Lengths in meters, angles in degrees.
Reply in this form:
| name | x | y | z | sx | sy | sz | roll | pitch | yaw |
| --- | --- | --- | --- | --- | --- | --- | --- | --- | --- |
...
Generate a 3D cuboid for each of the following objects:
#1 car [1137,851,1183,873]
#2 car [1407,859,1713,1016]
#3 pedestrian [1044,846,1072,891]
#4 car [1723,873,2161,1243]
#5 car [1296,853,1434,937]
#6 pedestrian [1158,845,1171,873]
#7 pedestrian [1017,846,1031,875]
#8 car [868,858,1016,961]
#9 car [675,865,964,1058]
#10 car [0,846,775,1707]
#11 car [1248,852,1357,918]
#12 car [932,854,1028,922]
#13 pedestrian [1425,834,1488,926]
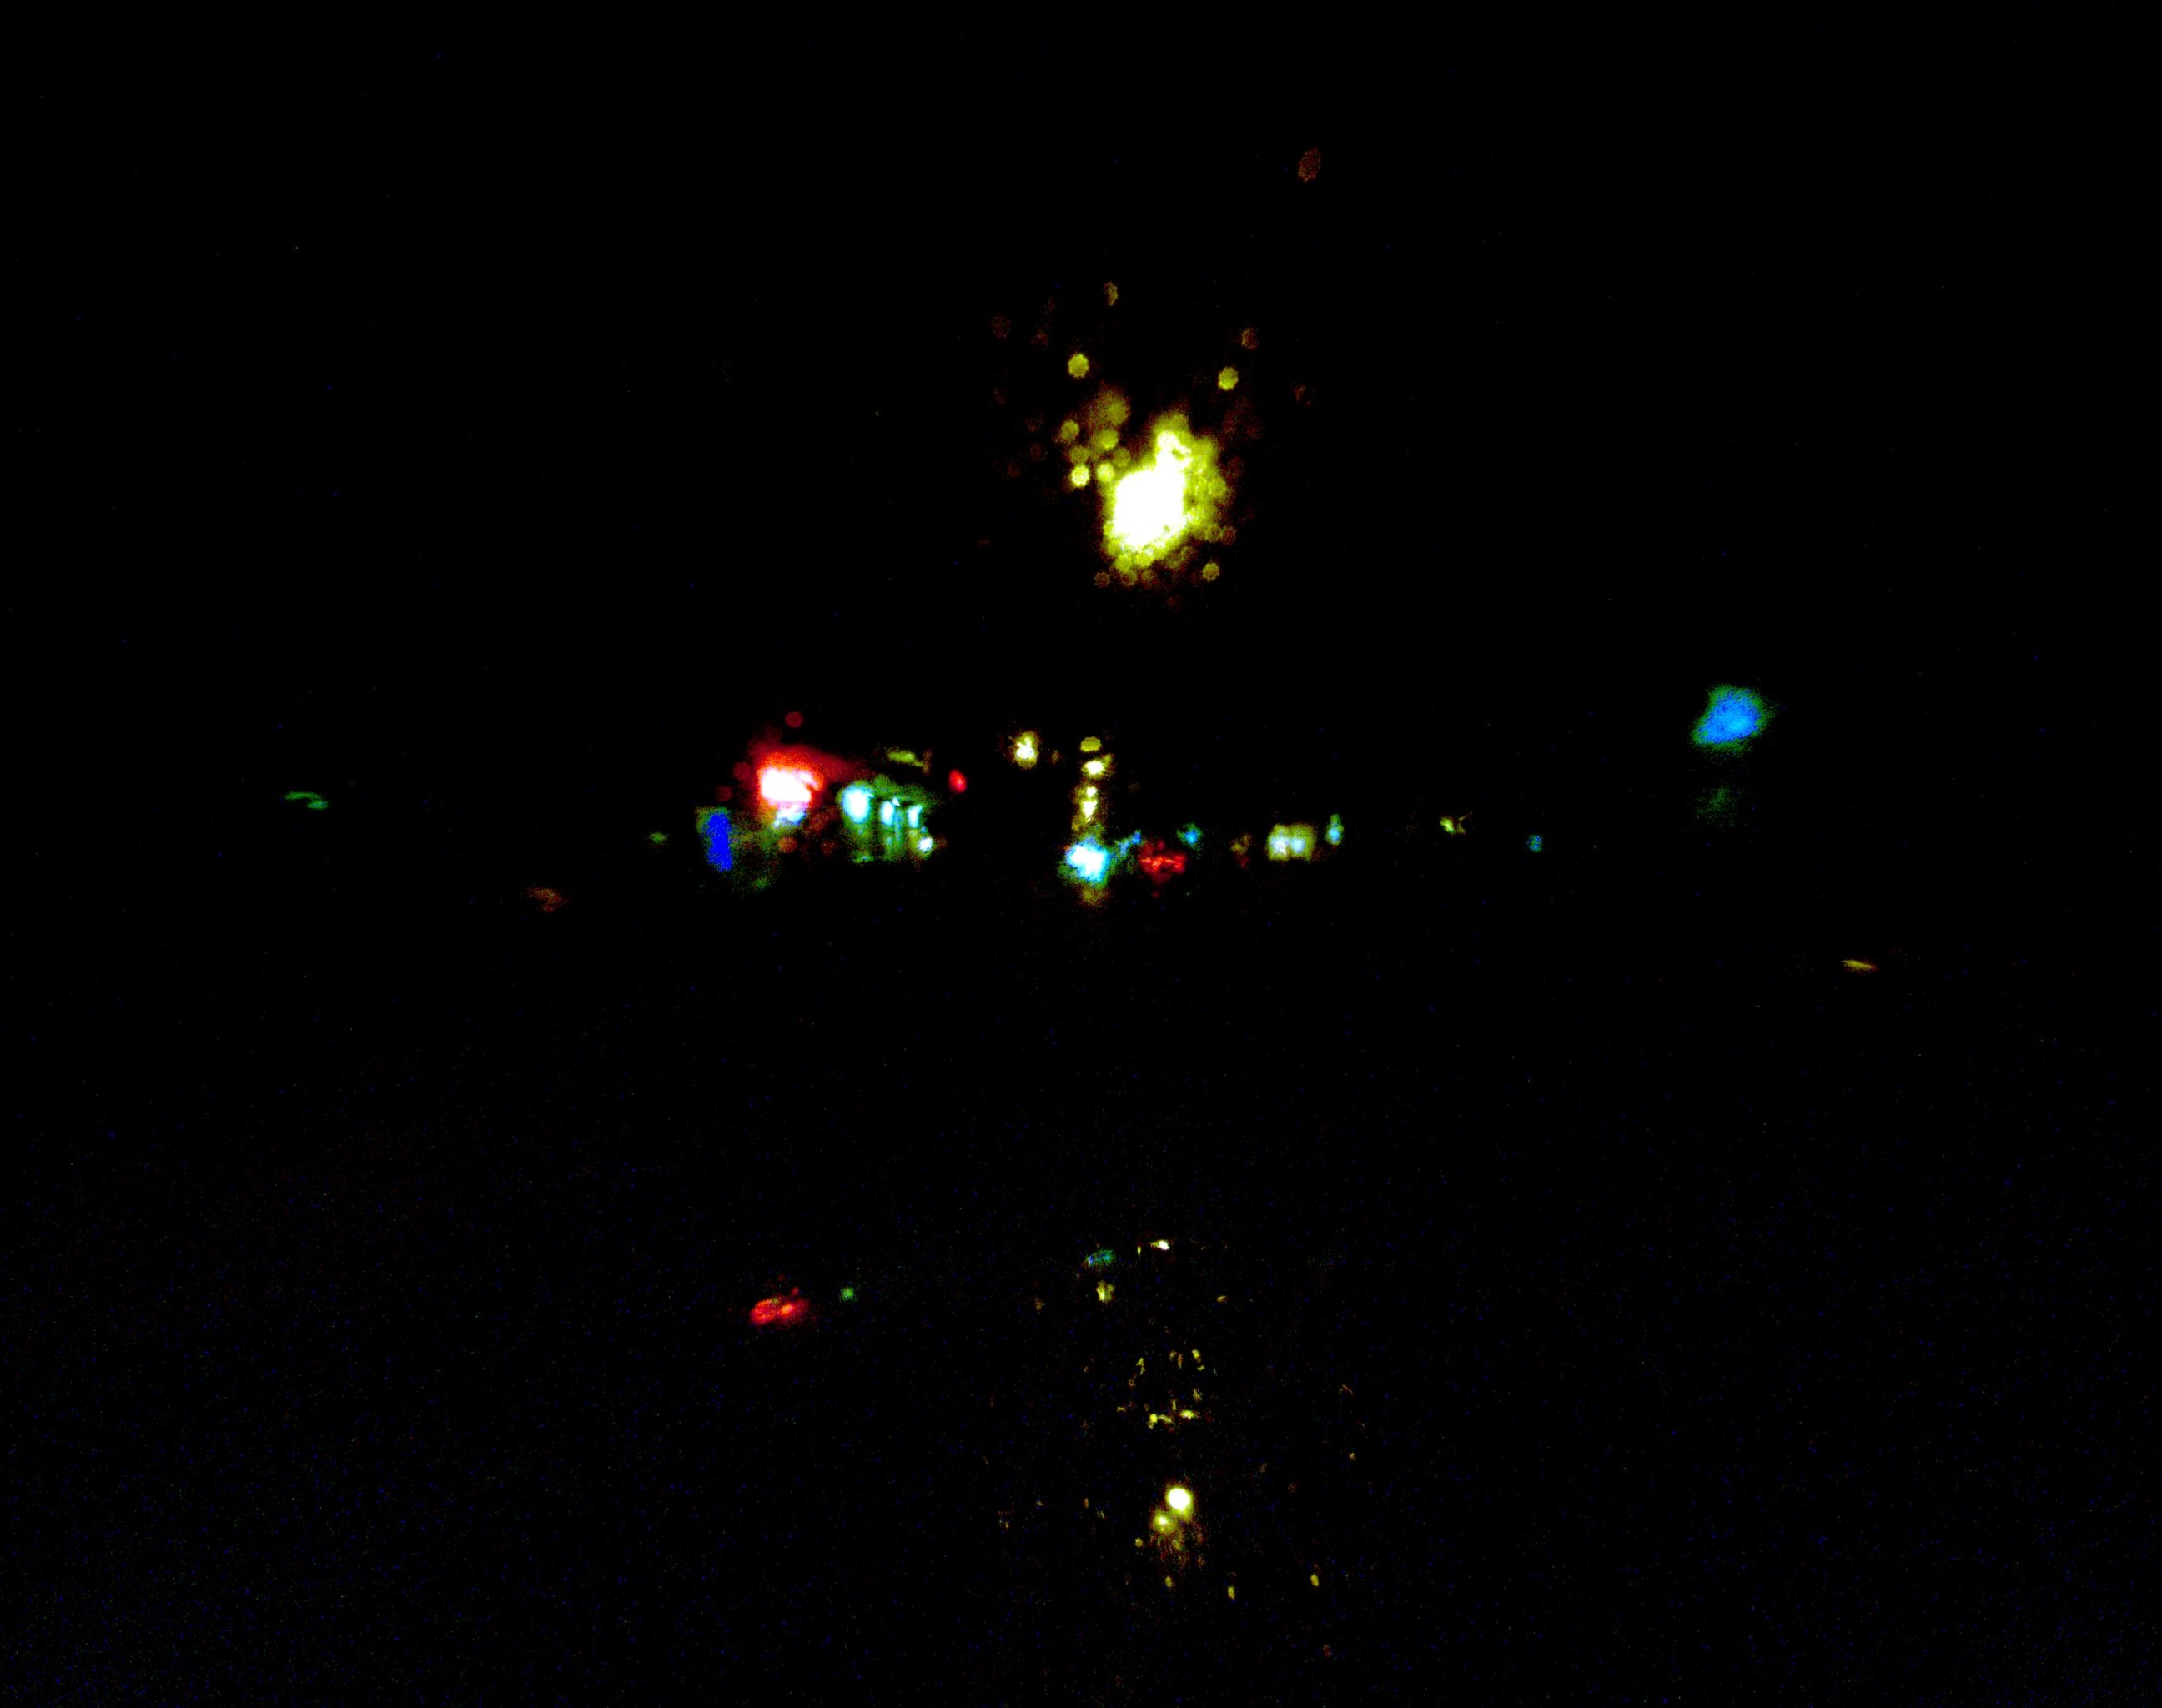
| name | x | y | z | sx | sy | sz | roll | pitch | yaw |
| --- | --- | --- | --- | --- | --- | --- | --- | --- | --- |
| car | 5.168 | 0.529 | 50.201 | 1.879 | 1.386 | 4.069 | -1 | -1 | -12 |
| car | 5.332 | 0.815 | 8.994 | 1.531 | 1.445 | 3.383 | -1 | 0 | 1 |
| pedestrian | -0.873 | 0.551 | 29.036 | 1.007 | 1.698 | 0.614 | 0 | 1 | 1 |
| car | 5.360 | 0.885 | 3.214 | 1.731 | 1.445 | 4.272 | -1 | 0 | 1 |
| car | 5.509 | 0.758 | 15.175 | 1.696 | 1.470 | 3.385 | -1 | -1 | 4 |
| pedestrian | 6.303 | 0.379 | 57.346 | 0.776 | 2.002 | 0.587 | -3 | 2 | 1 |
| pedestrian | -3.842 | 0.404 | 51.110 | 0.776 | 1.890 | 0.777 | -3 | 2 | 1 |
| car | -2.318 | 0.867 | 13.758 | 1.846 | 1.498 | 4.162 | 0 | 1 | 1 |
| car | -2.498 | 0.922 | 8.402 | 1.689 | 1.498 | 4.162 | 0 | 1 | 1 |
| car | -2.592 | 0.833 | 2.350 | 1.676 | 1.712 | 3.856 | 0 | 1 | 1 |
| car | 5.466 | 0.724 | 19.205 | 1.697 | 1.470 | 3.963 | -1 | -1 | 2 |
| car | -2.464 | 0.781 | 19.468 | 1.846 | 1.498 | 4.162 | 0 | 1 | 1 |
| pedestrian | 7.562 | 0.513 | 15.320 | 0.912 | 1.778 | 0.629 | -3 | 2 | 1 |
